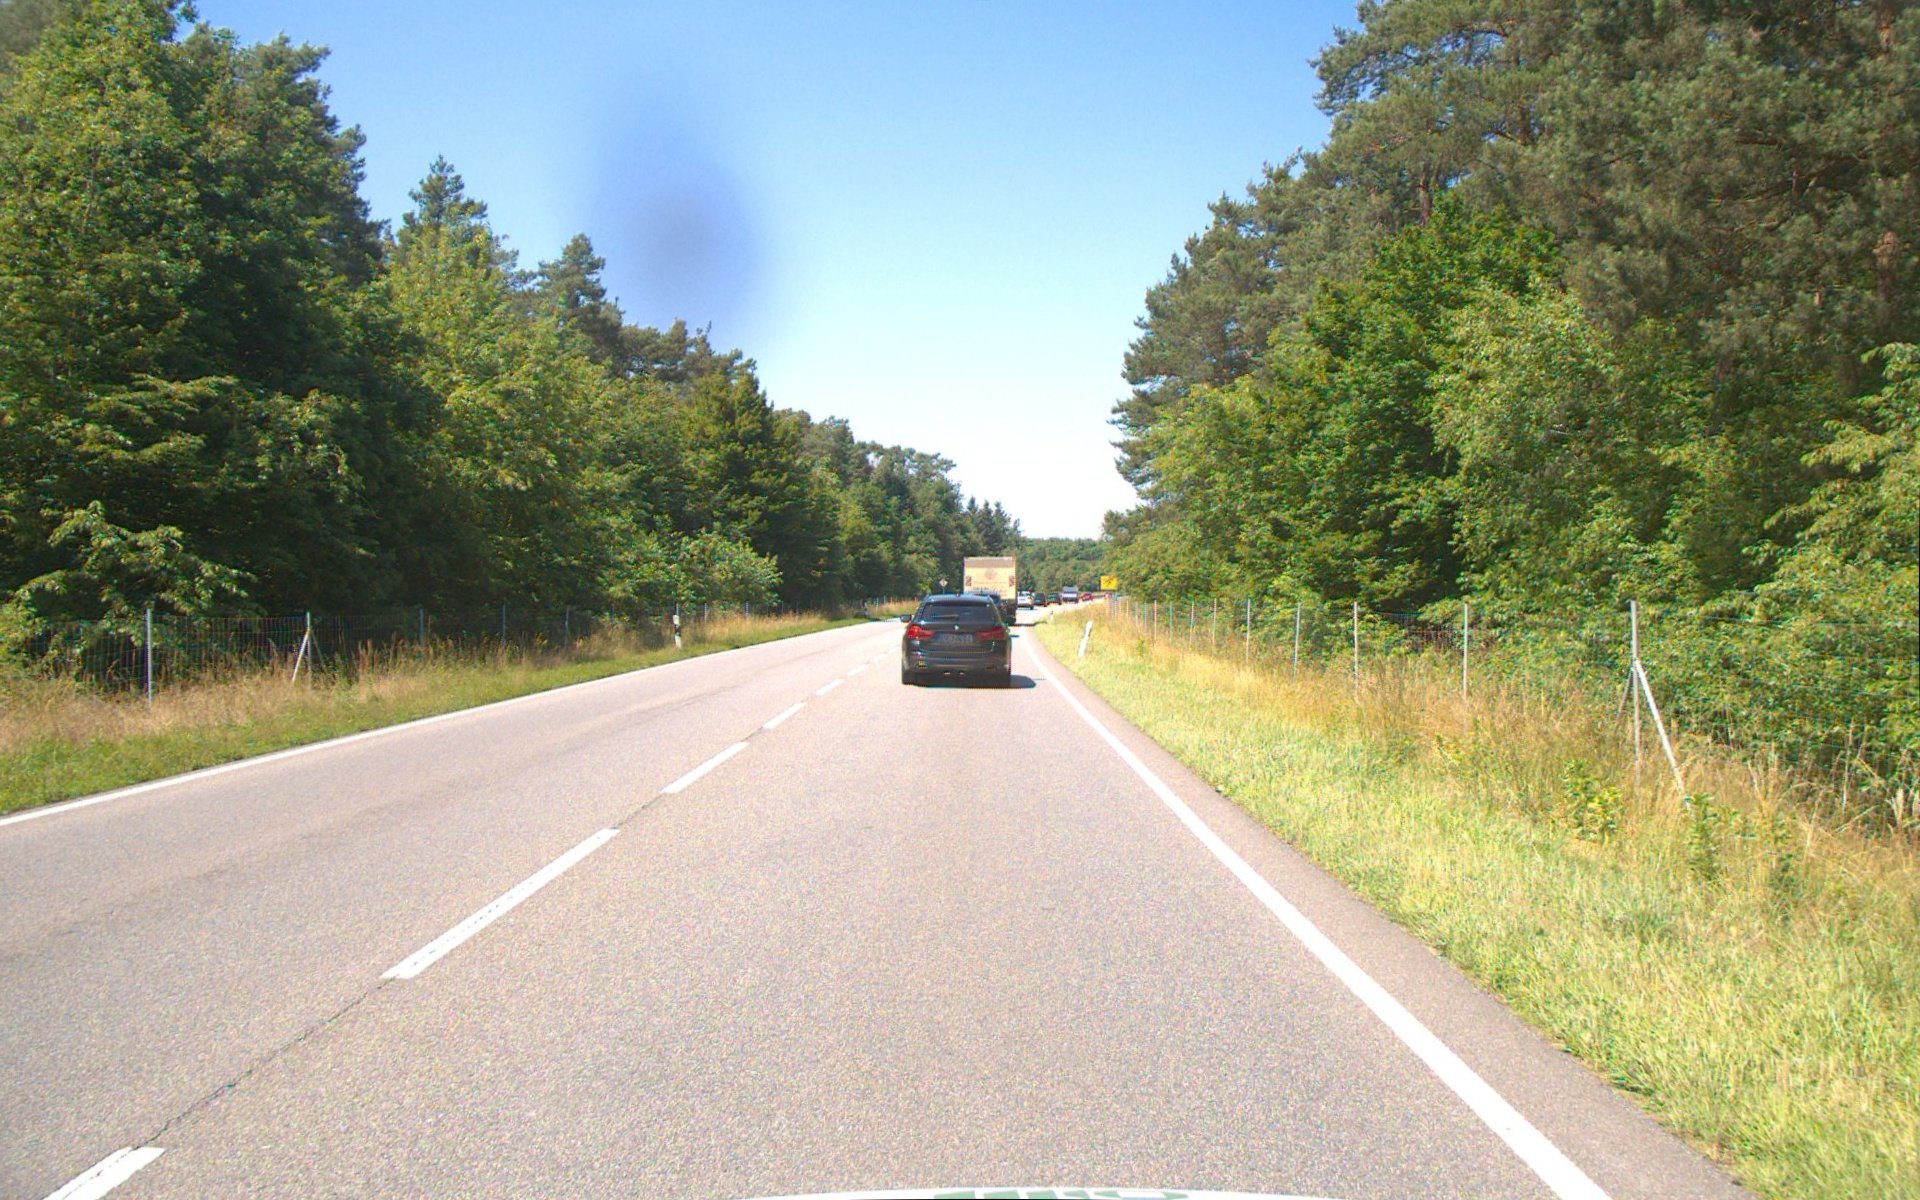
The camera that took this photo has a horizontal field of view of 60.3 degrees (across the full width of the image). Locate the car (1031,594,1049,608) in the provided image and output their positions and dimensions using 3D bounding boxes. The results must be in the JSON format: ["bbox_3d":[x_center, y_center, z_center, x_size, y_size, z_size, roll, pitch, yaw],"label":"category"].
[{"bbox_3d":[8.946,0.117,184.969,1.952,1.445,4.002,1,1,4],"label":"car"}]

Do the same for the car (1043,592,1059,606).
[{"bbox_3d":[11.641,-0.137,210.521,1.952,1.665,4.002,-1,0,4],"label":"car"}]

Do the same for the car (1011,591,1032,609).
[{"bbox_3d":[5.614,-0.026,151.769,1.824,1.633,4.001,-1,0,2],"label":"car"}]

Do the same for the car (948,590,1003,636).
[{"bbox_3d":[0.540,0.456,60.303,1.907,1.568,4.000,-1,0,0],"label":"car"}]

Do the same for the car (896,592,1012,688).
[{"bbox_3d":[-0.168,0.630,28.347,1.784,1.496,3.998,0,0,-3],"label":"car"}]

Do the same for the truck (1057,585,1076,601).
[{"bbox_3d":[15.287,-0.996,236.807,2.509,2.240,4.977,-1,1,5],"label":"truck"}]

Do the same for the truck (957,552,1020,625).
[{"bbox_3d":[1.467,-0.567,81.497,2.904,3.447,6.440,0,1,3],"label":"truck"}]
